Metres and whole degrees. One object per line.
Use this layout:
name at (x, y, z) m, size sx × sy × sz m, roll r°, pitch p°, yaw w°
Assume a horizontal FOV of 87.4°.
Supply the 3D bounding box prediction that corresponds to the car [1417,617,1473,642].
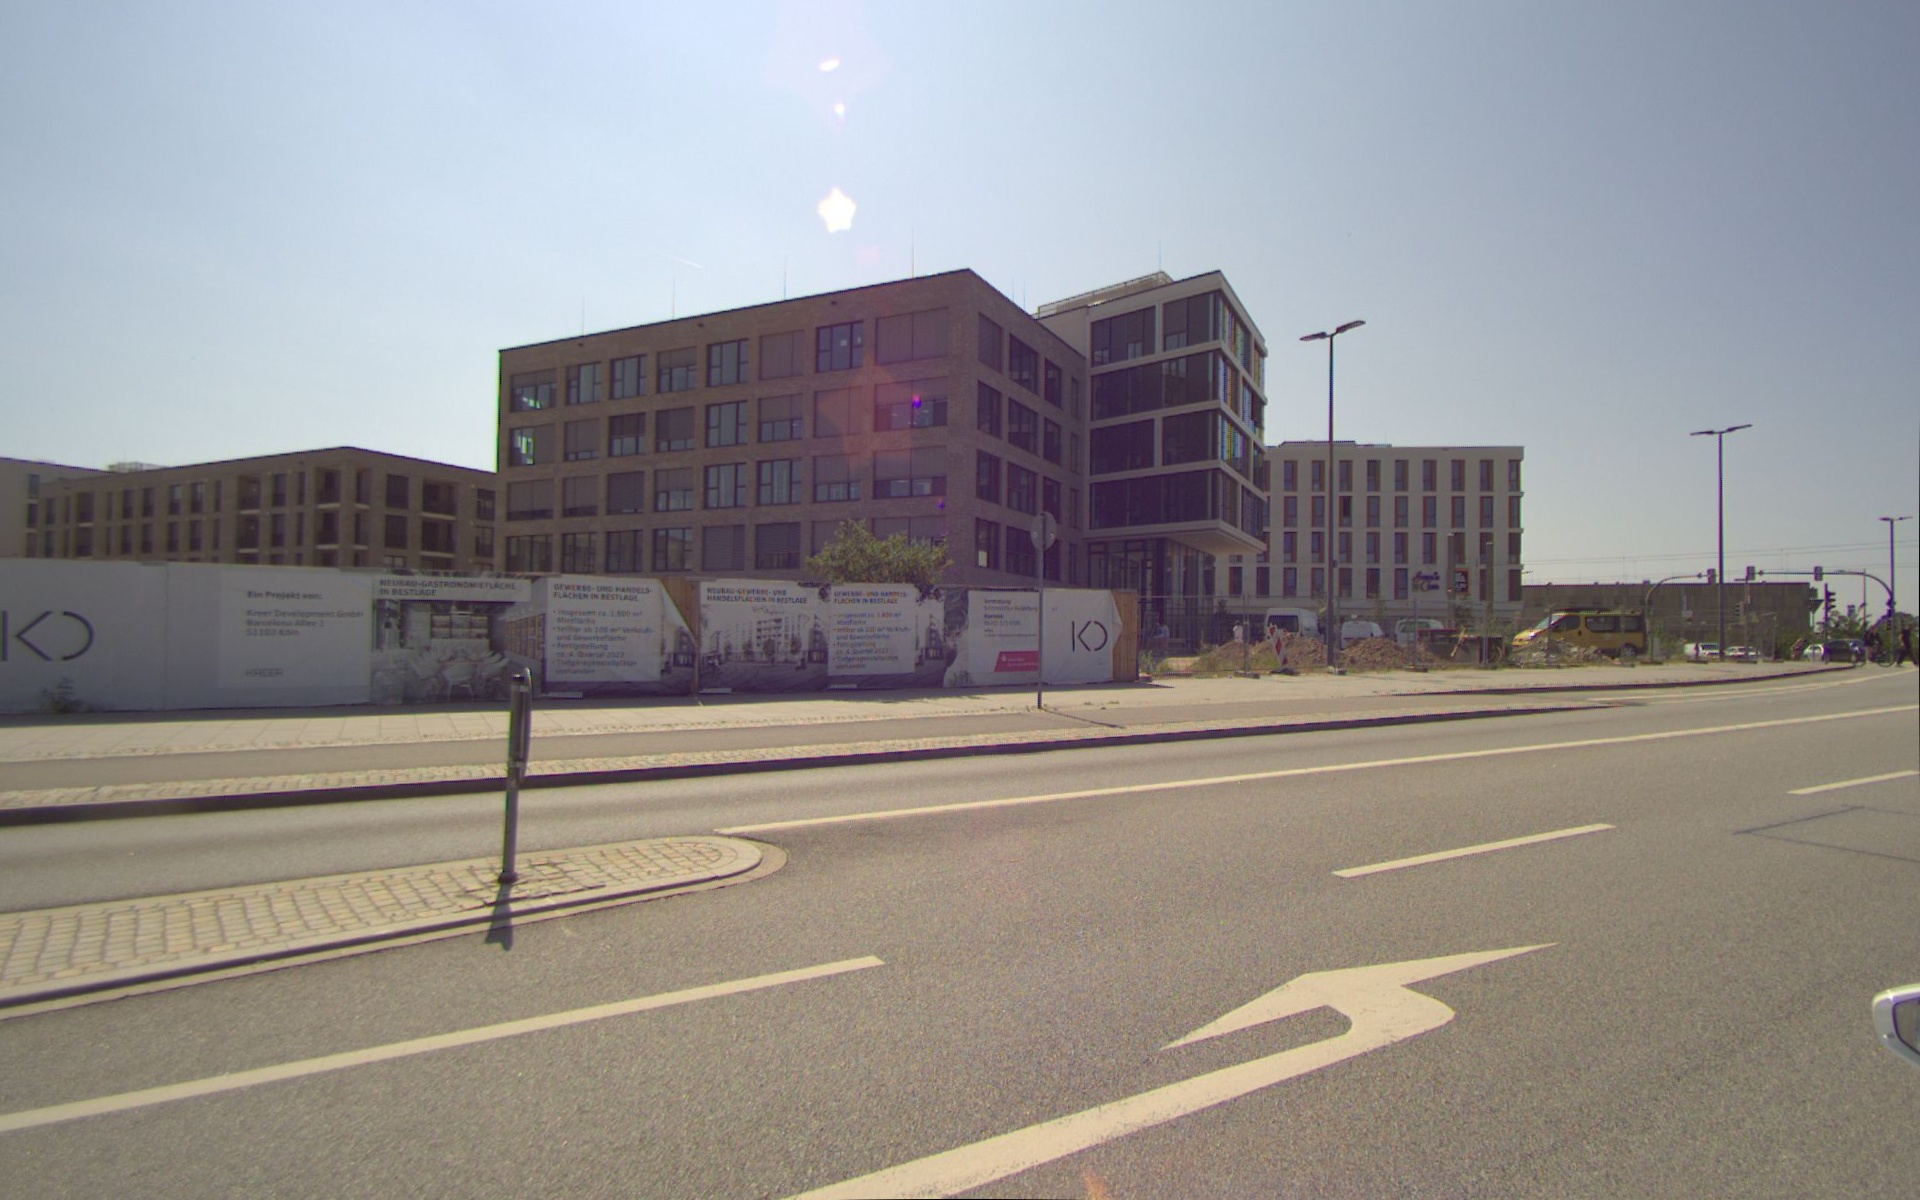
car at (42.833, 2.553, 88.788) m, size 1.986 × 2.040 × 3.949 m, roll 2°, pitch 0°, yaw -43°

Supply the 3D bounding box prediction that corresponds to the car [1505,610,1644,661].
car at (25.136, 1.424, 41.268) m, size 4.395 × 1.915 × 2.001 m, roll 2°, pitch 0°, yaw 9°

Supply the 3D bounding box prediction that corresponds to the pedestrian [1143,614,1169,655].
pedestrian at (9.948, 1.765, 51.035) m, size 0.949 × 2.040 × 0.940 m, roll 2°, pitch 0°, yaw -16°

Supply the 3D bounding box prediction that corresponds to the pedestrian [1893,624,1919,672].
pedestrian at (38.314, 1.927, 40.617) m, size 0.747 × 1.888 × 0.734 m, roll 2°, pitch 0°, yaw -37°

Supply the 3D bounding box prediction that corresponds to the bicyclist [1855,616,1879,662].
bicyclist at (38.744, 1.661, 42.914) m, size 0.630 × 1.912 × 0.590 m, roll 2°, pitch 0°, yaw -34°

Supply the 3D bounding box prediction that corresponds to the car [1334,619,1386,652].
car at (20.418, 1.793, 51.200) m, size 1.774 × 1.528 × 3.991 m, roll 2°, pitch 0°, yaw 32°

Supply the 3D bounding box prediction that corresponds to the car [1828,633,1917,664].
car at (58.896, 3.087, 64.910) m, size 1.786 × 1.603 × 3.747 m, roll -10°, pitch 1°, yaw -17°

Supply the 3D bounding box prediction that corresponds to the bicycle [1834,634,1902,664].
bicycle at (38.761, 2.084, 42.897) m, size 0.550 × 1.193 × 2.068 m, roll 2°, pitch 0°, yaw -34°

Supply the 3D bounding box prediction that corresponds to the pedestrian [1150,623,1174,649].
pedestrian at (11.451, 2.042, 57.065) m, size 1.098 × 1.391 × 0.742 m, roll 2°, pitch 0°, yaw -16°

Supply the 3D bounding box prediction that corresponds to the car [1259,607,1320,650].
car at (17.204, 1.444, 52.338) m, size 2.175 × 2.083 × 4.164 m, roll 2°, pitch 0°, yaw 30°

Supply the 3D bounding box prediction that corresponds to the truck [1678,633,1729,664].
truck at (65.040, 4.209, 87.942) m, size 1.960 × 2.574 × 4.711 m, roll 1°, pitch -1°, yaw 14°

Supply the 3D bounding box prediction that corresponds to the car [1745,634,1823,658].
car at (57.356, 3.173, 69.996) m, size 1.649 × 1.571 × 3.974 m, roll 2°, pitch -2°, yaw -17°

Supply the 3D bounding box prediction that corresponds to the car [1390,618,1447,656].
car at (22.729, 1.783, 49.678) m, size 1.967 × 1.730 × 4.550 m, roll 2°, pitch 0°, yaw 32°

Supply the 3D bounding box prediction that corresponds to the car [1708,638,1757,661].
car at (67.907, 4.319, 88.330) m, size 1.892 × 1.839 × 4.049 m, roll 1°, pitch -1°, yaw 13°
